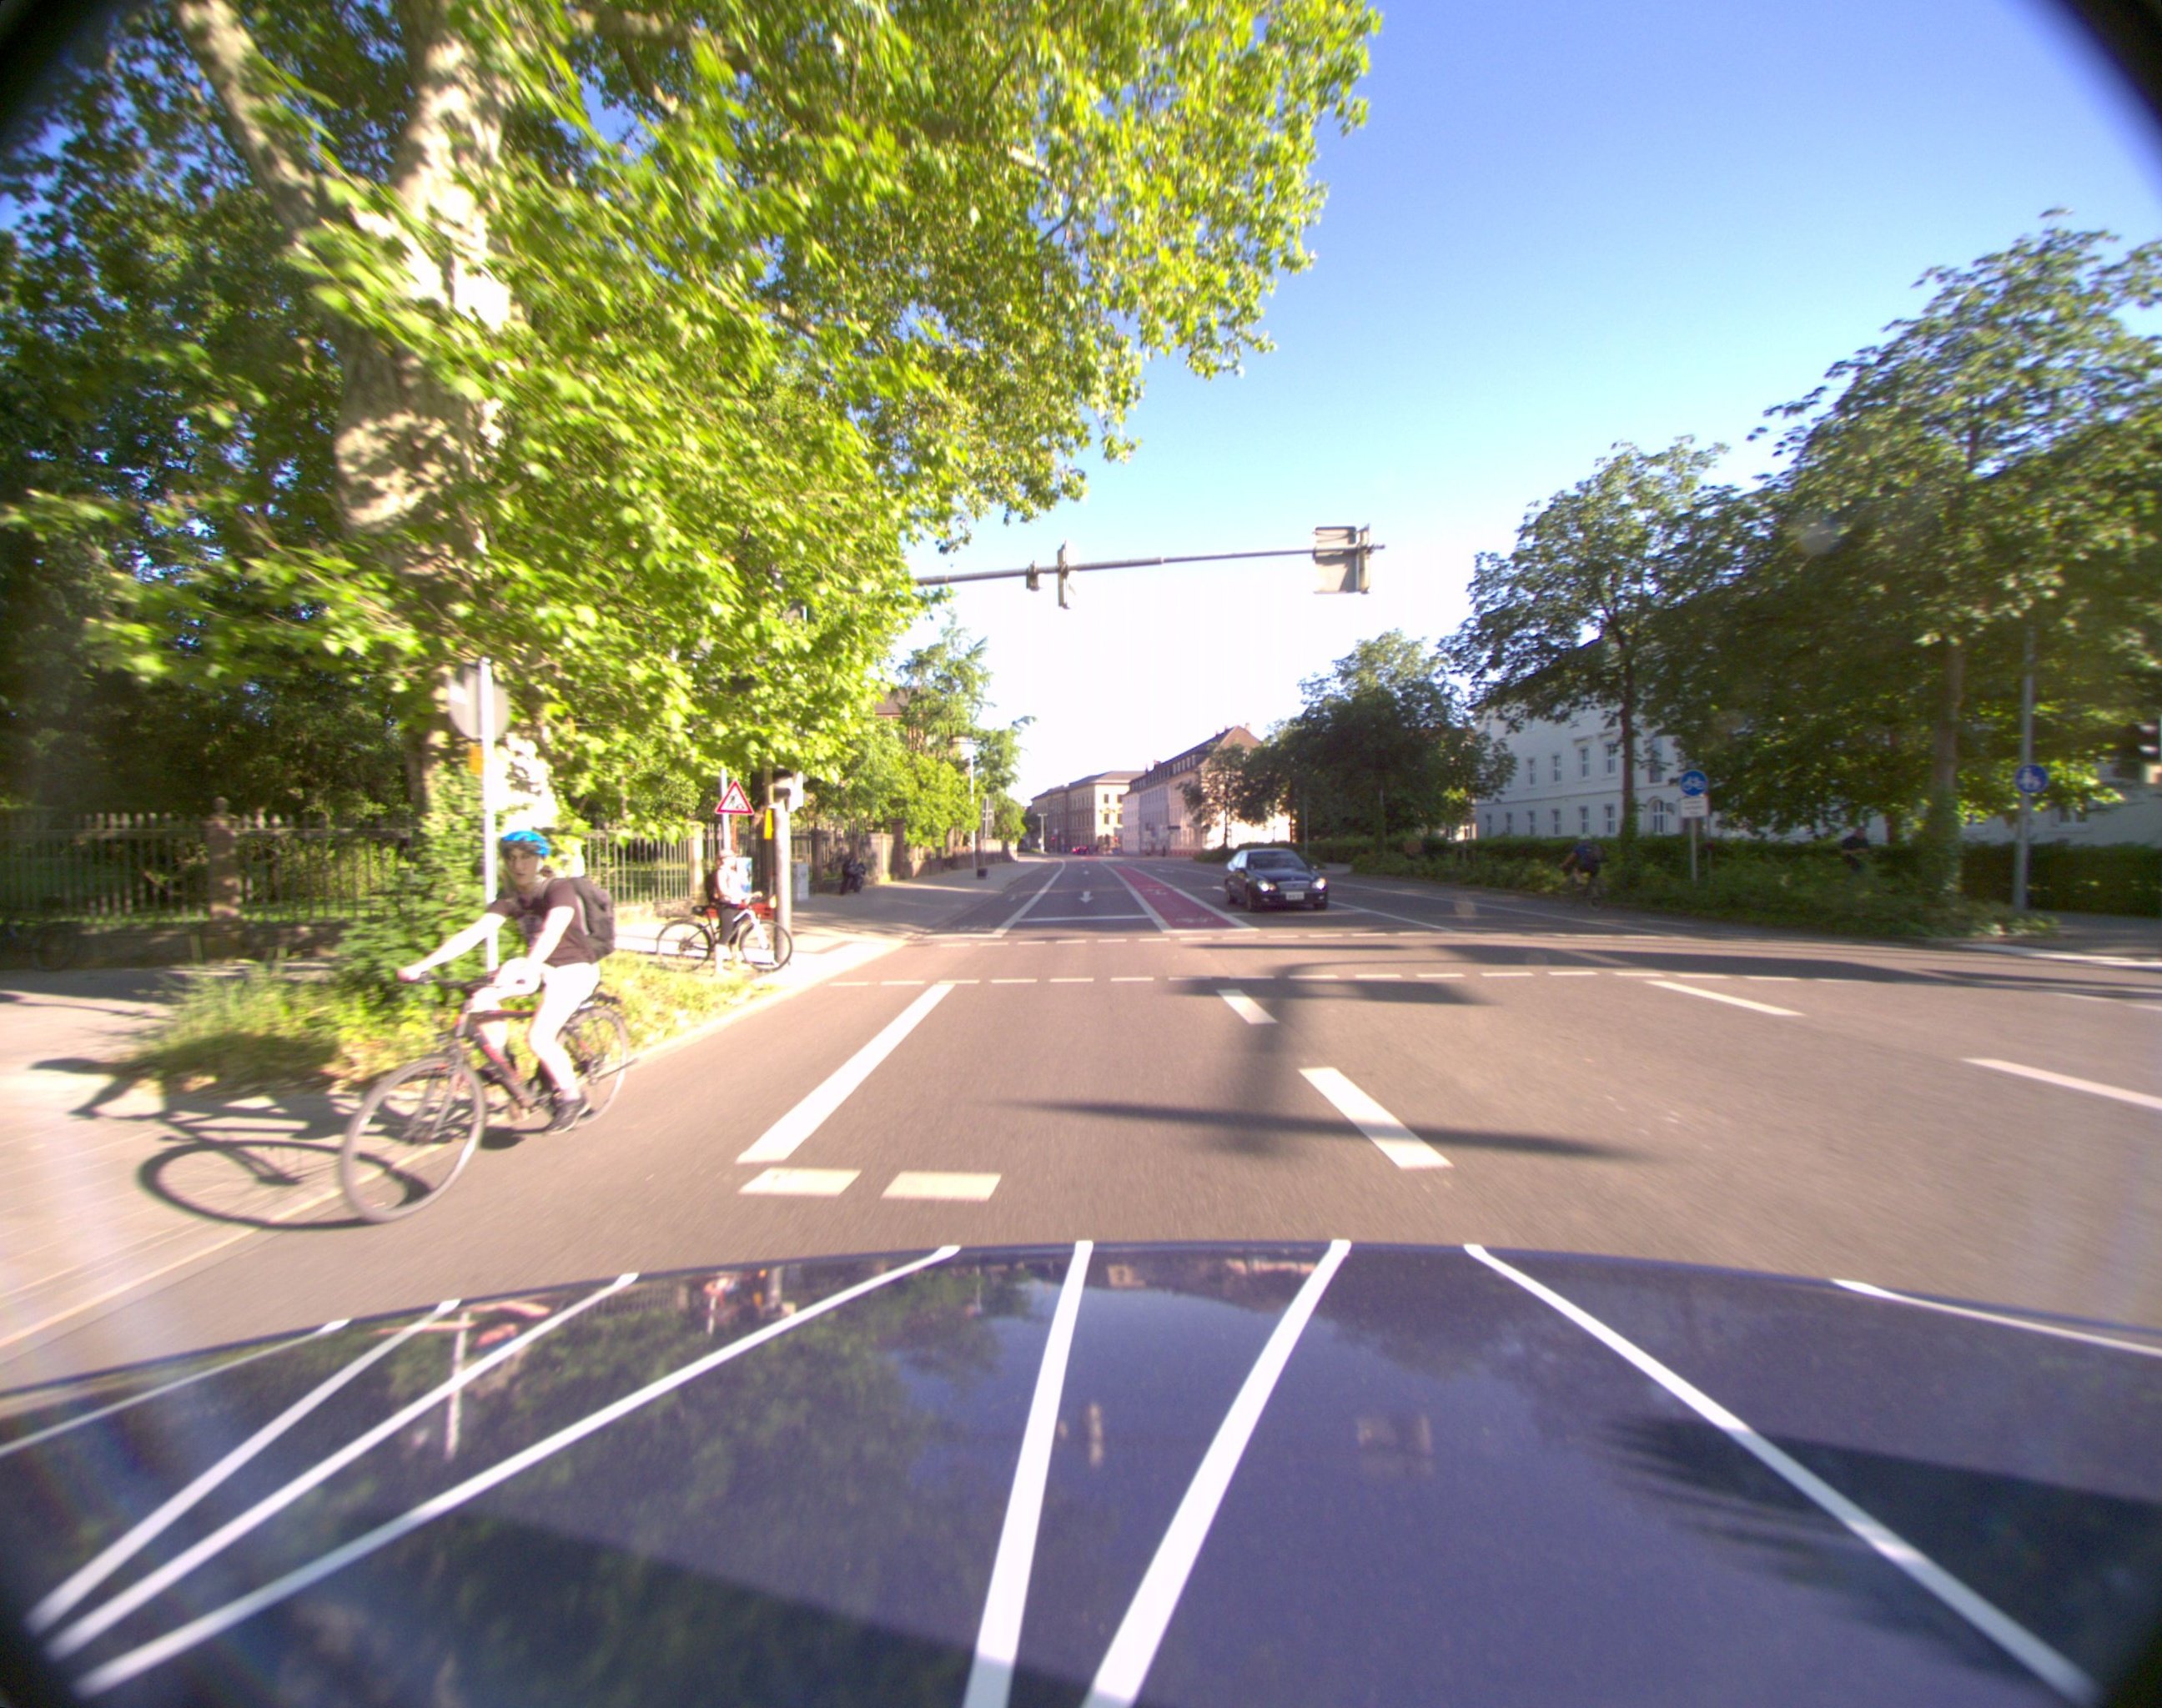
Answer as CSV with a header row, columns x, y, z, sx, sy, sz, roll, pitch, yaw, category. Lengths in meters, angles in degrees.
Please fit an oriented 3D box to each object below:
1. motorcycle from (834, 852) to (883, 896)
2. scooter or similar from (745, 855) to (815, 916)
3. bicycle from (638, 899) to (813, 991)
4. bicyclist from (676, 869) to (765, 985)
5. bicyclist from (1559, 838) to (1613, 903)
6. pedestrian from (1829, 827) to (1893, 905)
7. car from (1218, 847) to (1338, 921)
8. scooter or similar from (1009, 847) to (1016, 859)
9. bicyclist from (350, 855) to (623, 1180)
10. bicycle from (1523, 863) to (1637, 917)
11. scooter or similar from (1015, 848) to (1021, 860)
x,y,z,sx,sy,sz,roll,pitch,yaw,category
-7.035,0.612,24.113,0.906,1.285,2.038,0,1,1,motorcycle
-6.887,0.690,17.490,0.794,1.248,1.836,3,1,1,scooter or similar
-4.624,1.157,9.933,1.988,1.089,0.696,0,2,8,bicycle
-4.686,0.928,9.928,0.766,1.439,0.696,0,2,8,bicyclist
11.572,0.359,17.433,0.699,1.458,0.756,-1,2,-21,bicyclist
17.157,0.261,16.737,0.691,1.672,0.681,0,2,10,pedestrian
4.536,0.605,18.146,1.722,1.410,4.526,-3,1,1,car
-6.411,-0.078,70.796,0.416,1.035,1.778,-3,1,1,scooter or similar
-3.024,0.761,3.976,0.695,1.493,0.892,0,2,-2,bicyclist
11.497,0.787,17.606,0.699,1.110,2.185,-1,1,-23,bicycle
-6.068,-0.018,73.095,0.416,1.035,1.778,-3,1,1,scooter or similar
